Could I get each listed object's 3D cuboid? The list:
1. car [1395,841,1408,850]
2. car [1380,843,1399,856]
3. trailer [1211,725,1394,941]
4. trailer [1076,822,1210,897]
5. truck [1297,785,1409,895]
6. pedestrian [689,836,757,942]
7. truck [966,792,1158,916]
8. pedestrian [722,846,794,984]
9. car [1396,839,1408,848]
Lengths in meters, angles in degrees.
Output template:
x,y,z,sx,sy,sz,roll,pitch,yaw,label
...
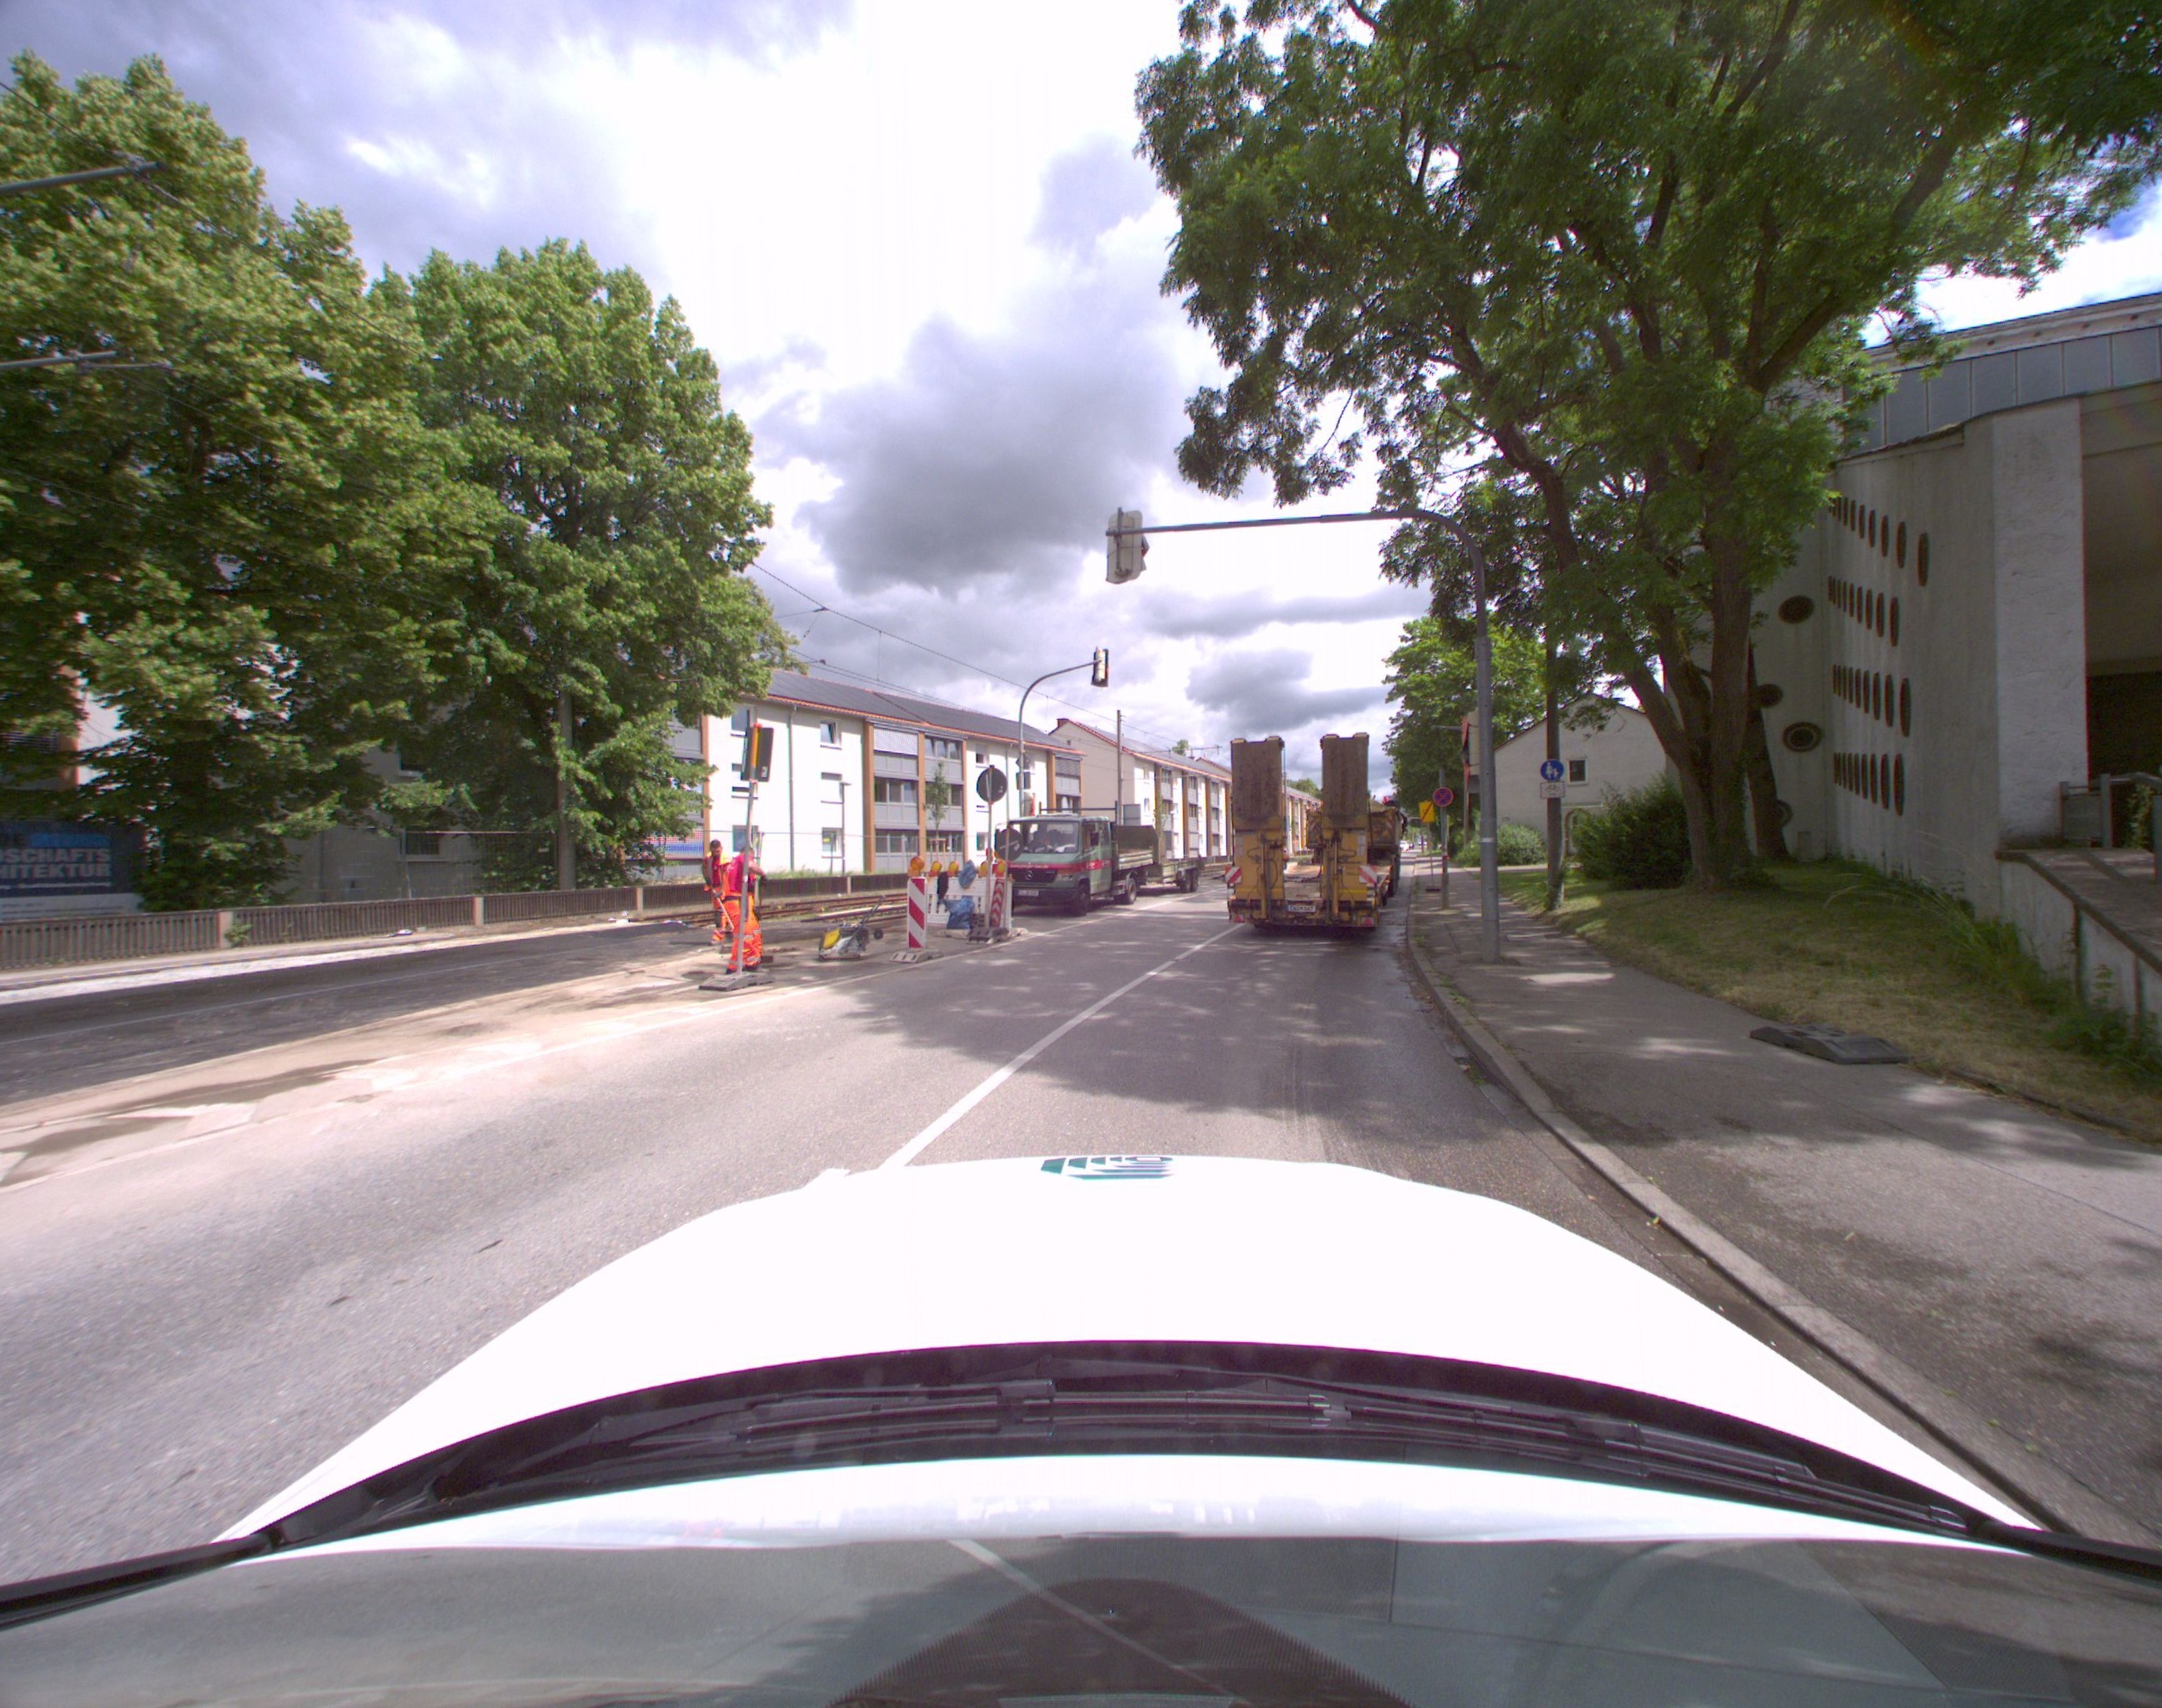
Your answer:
x,y,z,sx,sy,sz,roll,pitch,yaw,label
51.685,-1.398,131.325,1.635,1.520,3.888,0,1,25,car
39.532,-0.579,104.364,1.862,1.481,4.555,-1,0,25,car
5.682,-0.424,18.966,2.798,3.524,11.111,0,1,22,trailer
2.272,0.115,27.237,2.639,2.213,6.282,0,1,23,trailer
9.428,-0.469,27.634,2.891,3.167,7.723,1,1,23,truck
-5.791,0.562,13.212,0.702,1.668,0.828,-1,-2,1,pedestrian
-0.197,-0.040,21.393,2.639,2.725,6.431,0,1,23,truck
-3.871,0.683,9.782,0.765,1.551,0.894,0,1,-22,pedestrian
56.594,-1.829,143.656,1.664,1.450,4.098,-2,0,26,car
